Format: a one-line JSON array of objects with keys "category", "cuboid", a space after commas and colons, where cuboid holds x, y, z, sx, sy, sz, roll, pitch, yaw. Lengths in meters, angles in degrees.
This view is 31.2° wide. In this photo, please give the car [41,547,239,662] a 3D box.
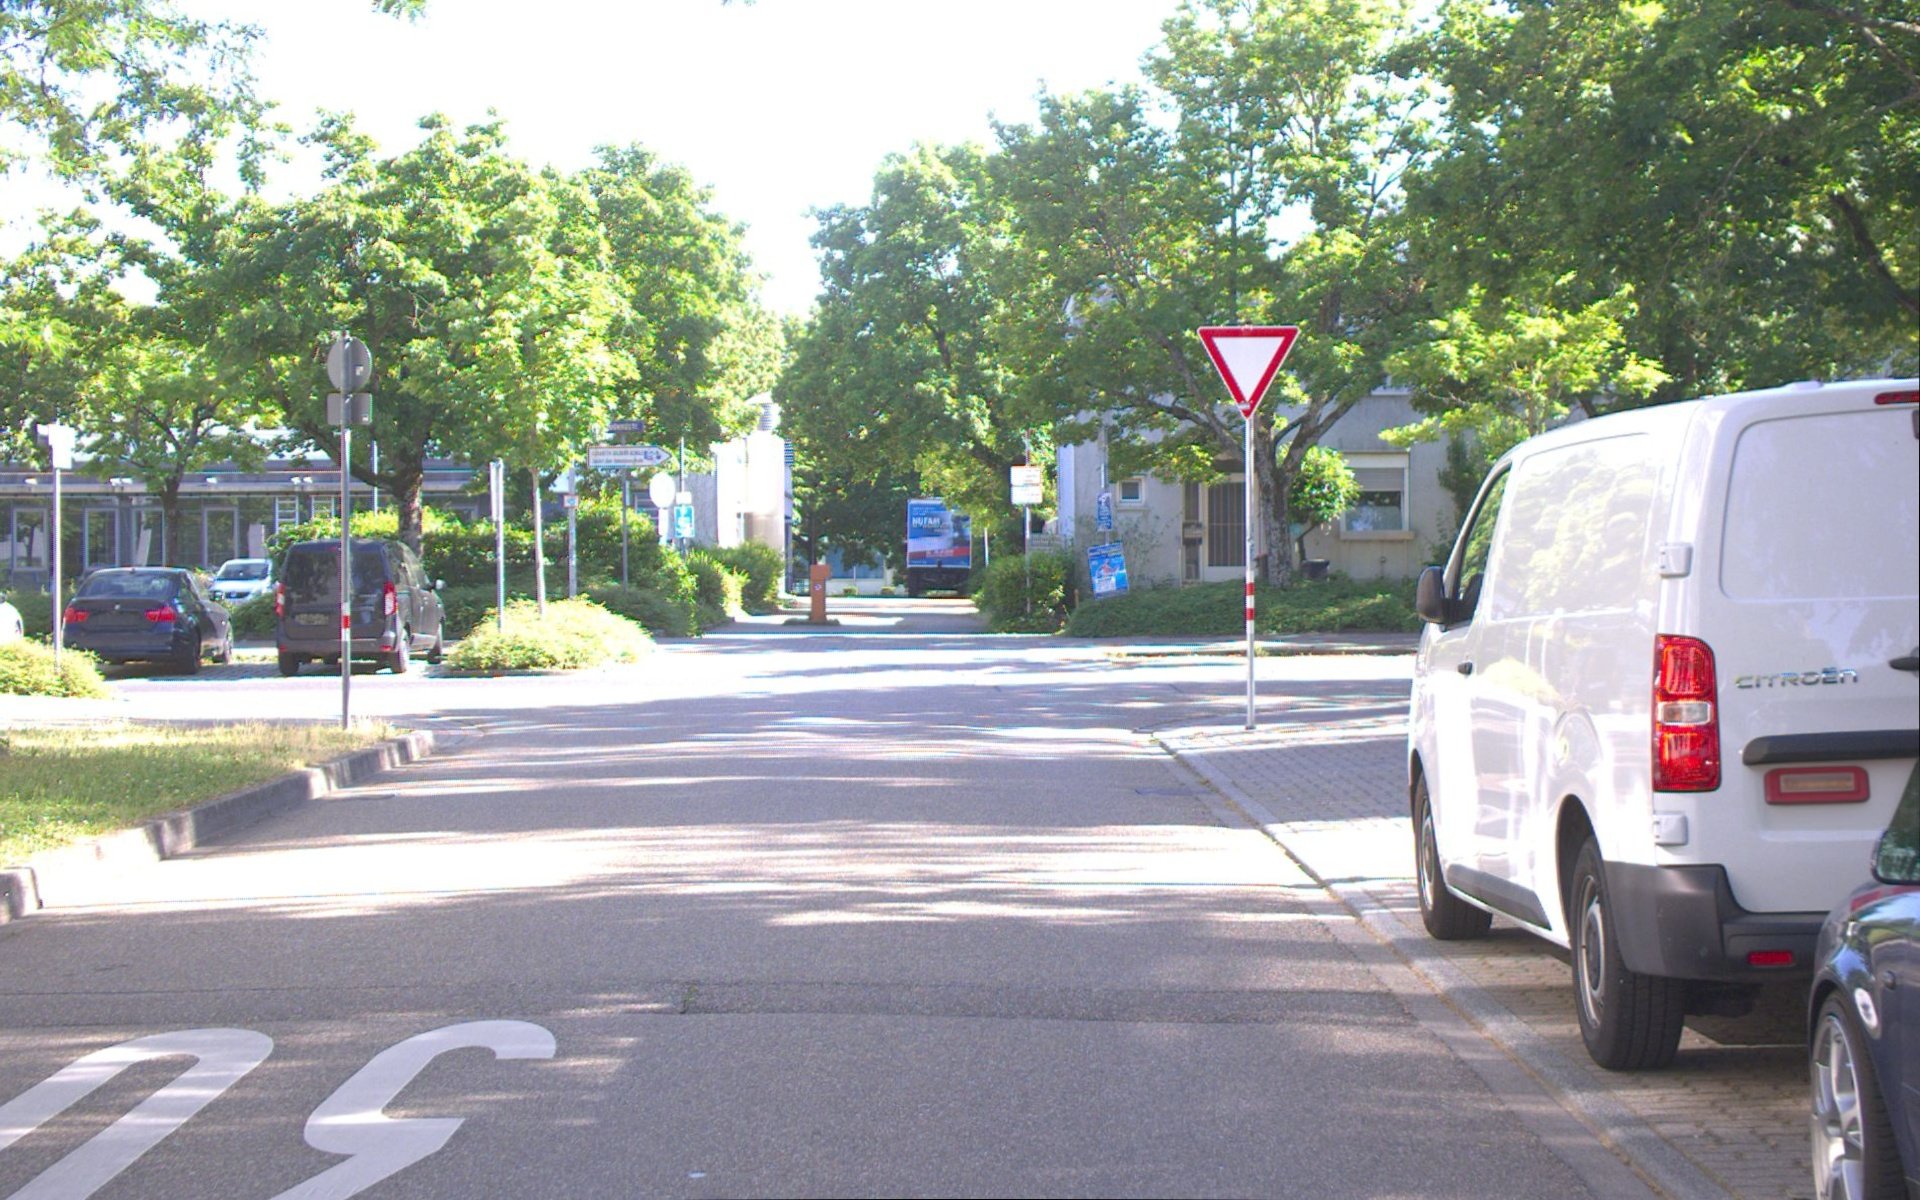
[{"category": "car", "cuboid": [-11.193, 0.024, 47.188, 1.823, 1.401, 4.169, -1, 2, -2]}]

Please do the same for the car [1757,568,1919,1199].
[{"category": "car", "cuboid": [2.646, 0.646, 5.261, 1.825, 1.418, 4.283, -3, 1, 1]}]

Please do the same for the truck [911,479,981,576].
[{"category": "truck", "cuboid": [-0.532, -2.986, 142.008, 2.760, 3.856, 9.330, 1, 1, 0]}]

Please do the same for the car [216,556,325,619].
[{"category": "car", "cuboid": [-17.347, -0.325, 86.656, 1.836, 1.492, 3.908, 0, 1, 2]}]

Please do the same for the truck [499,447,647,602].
[{"category": "truck", "cuboid": [-9.890, -1.935, 88.533, 2.802, 3.793, 6.924, 1, 1, 2]}]

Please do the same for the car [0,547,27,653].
[{"category": "car", "cuboid": [-14.211, 0.029, 47.269, 1.802, 1.431, 3.913, 0, 2, -2]}]

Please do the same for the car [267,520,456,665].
[{"category": "car", "cuboid": [-8.199, -0.147, 47.432, 1.874, 1.840, 4.169, -1, 2, 0]}]

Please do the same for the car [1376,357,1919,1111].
[{"category": "car", "cuboid": [2.620, 0.287, 11.322, 1.898, 1.907, 5.148, -1, 1, 1]}]
